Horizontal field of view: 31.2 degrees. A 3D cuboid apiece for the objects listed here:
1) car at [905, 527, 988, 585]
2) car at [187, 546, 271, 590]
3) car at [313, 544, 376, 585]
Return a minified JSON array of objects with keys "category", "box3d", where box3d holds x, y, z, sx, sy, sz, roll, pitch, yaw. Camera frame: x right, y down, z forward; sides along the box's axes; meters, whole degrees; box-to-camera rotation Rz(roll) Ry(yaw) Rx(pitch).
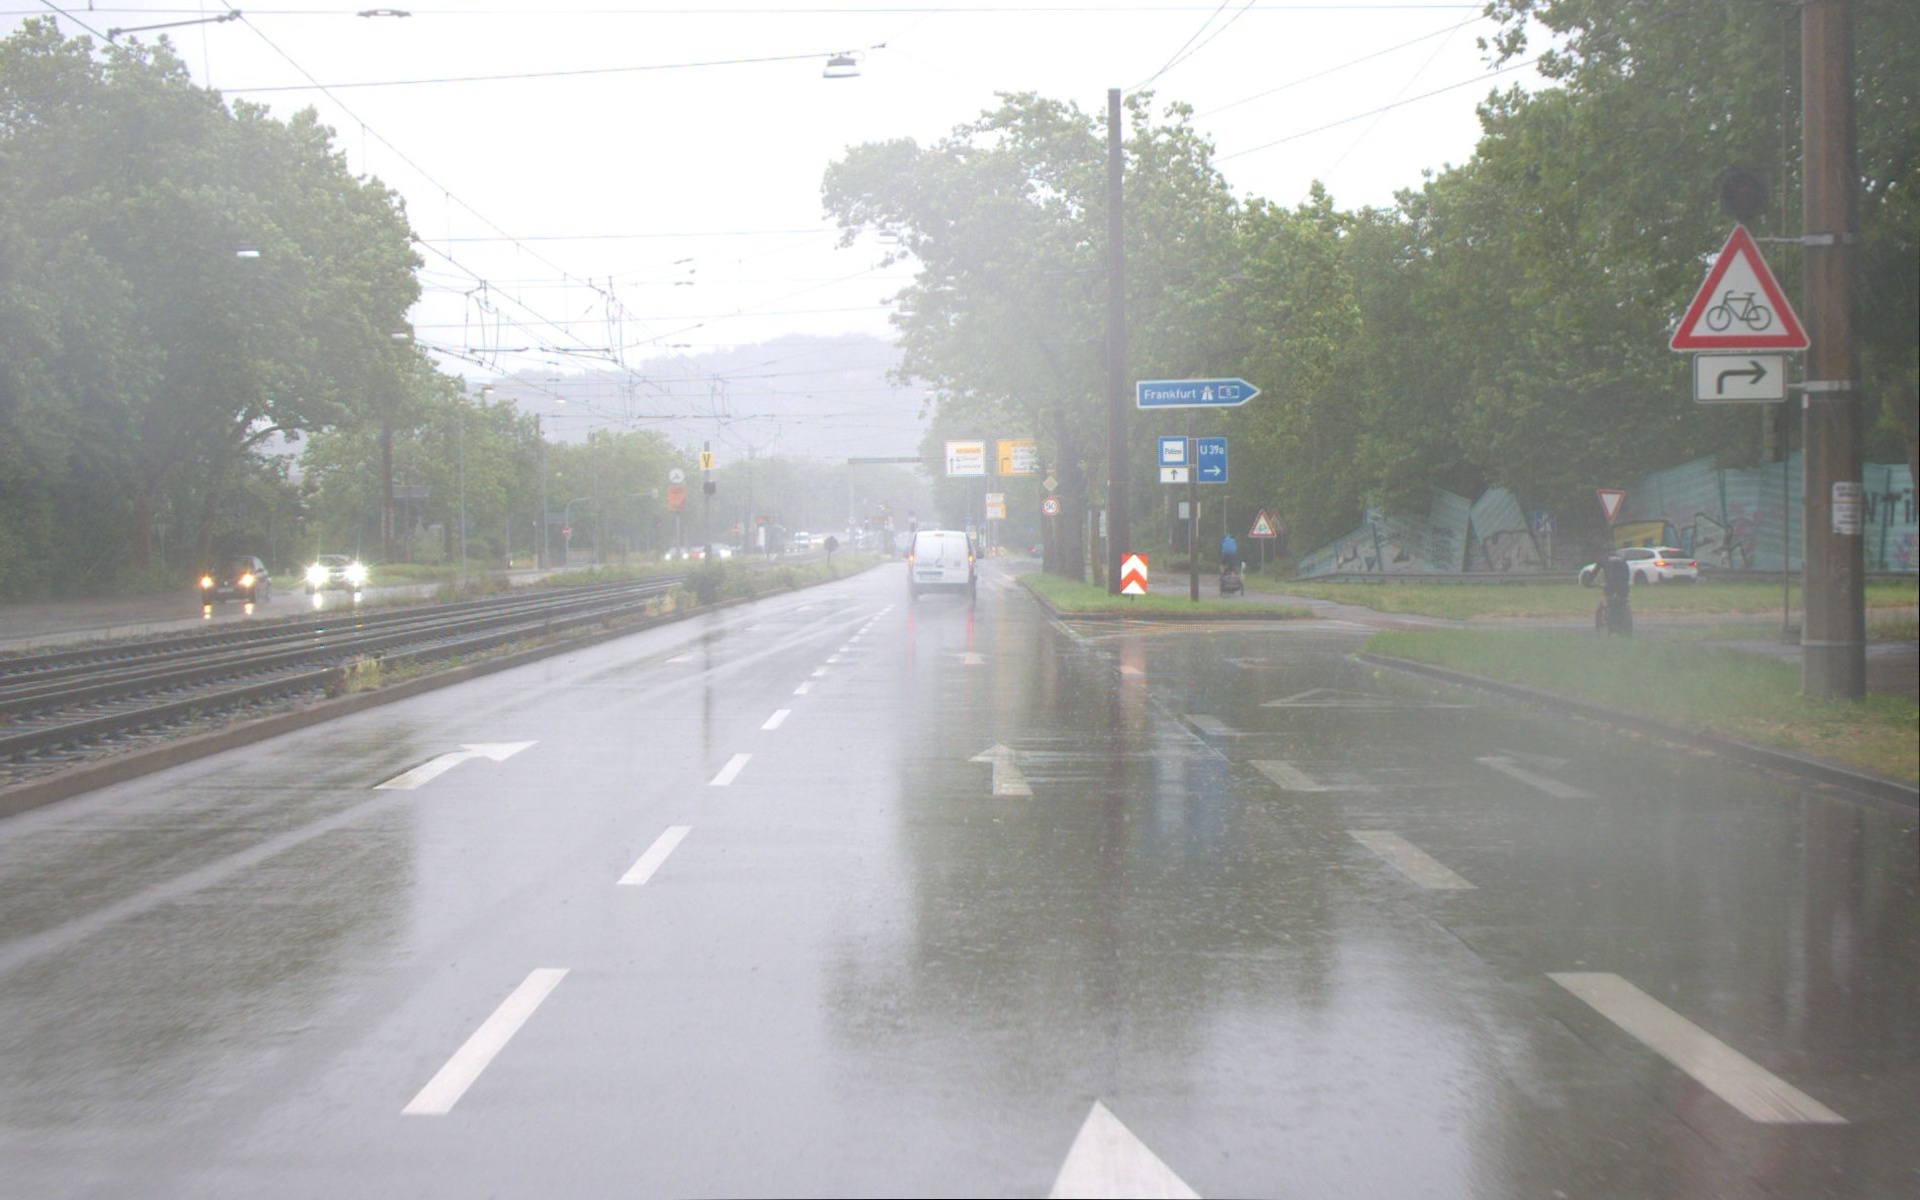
[{"category":"car","box3d":[-0.359,-1.140,88.538,2.077,1.415,4.000,-1,1,0]},{"category":"car","box3d":[-22.718,-1.009,106.965,1.771,1.326,4.381,0,1,-2]},{"category":"car","box3d":[-23.630,-1.372,132.194,1.690,1.518,4.956,0,1,-2]}]
